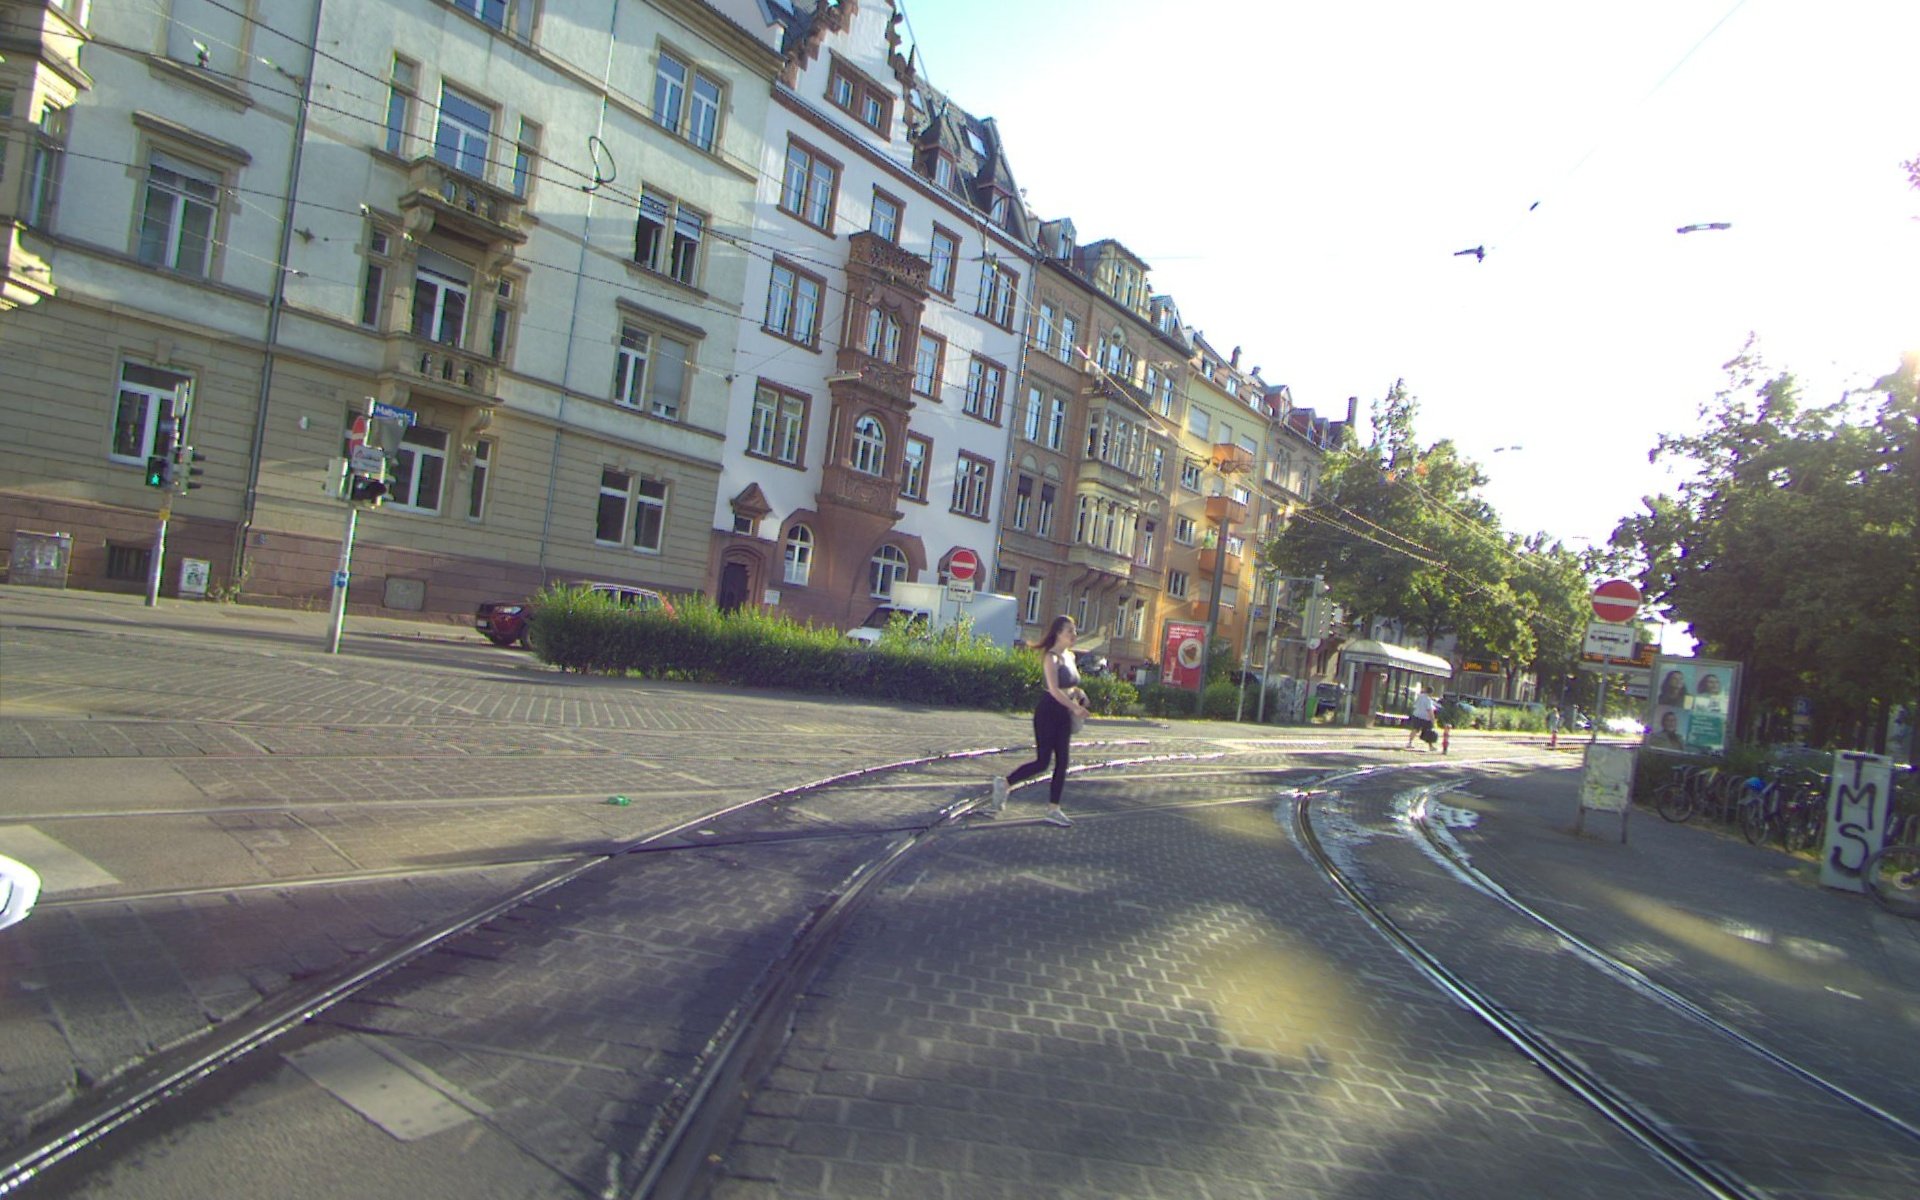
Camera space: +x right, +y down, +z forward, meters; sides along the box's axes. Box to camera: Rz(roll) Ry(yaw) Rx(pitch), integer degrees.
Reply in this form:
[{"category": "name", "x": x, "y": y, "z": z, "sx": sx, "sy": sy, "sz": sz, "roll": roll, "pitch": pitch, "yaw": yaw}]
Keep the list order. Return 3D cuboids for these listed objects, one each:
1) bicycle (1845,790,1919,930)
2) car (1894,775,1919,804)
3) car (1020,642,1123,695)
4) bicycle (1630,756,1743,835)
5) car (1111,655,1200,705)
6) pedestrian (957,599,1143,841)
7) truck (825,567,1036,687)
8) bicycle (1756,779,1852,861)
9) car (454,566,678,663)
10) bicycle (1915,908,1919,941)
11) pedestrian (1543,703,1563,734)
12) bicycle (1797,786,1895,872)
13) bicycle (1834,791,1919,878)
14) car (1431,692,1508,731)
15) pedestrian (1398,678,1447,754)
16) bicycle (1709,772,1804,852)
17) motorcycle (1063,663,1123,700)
[{"category": "bicycle", "x": 10.424, "y": 2.814, "z": 10.217, "sx": 1.937, "sy": 1.278, "sz": 0.754, "roll": 10, "pitch": 1, "yaw": 37}, {"category": "car", "x": 57.476, "y": 11.434, "z": 60.484, "sx": 1.674, "sy": 1.531, "sz": 3.567, "roll": 8, "pitch": -2, "yaw": 41}, {"category": "car", "x": 4.536, "y": 2.764, "z": 40.436, "sx": 1.918, "sy": 1.650, "sz": 4.256, "roll": 5, "pitch": -3, "yaw": 41}, {"category": "bicycle", "x": 12.665, "y": 3.411, "z": 17.536, "sx": 1.773, "sy": 1.120, "sz": 0.499, "roll": 8, "pitch": -1, "yaw": -15}, {"category": "car", "x": 8.838, "y": 3.615, "z": 45.229, "sx": 1.918, "sy": 1.791, "sz": 4.256, "roll": 5, "pitch": -3, "yaw": 41}, {"category": "pedestrian", "x": 0.797, "y": 1.002, "z": 8.736, "sx": 1.065, "sy": 1.828, "sz": 1.025, "roll": 8, "pitch": 0, "yaw": 30}, {"category": "truck", "x": -0.719, "y": 1.050, "z": 33.547, "sx": 2.295, "sy": 3.115, "sz": 8.064, "roll": 5, "pitch": -3, "yaw": 36}, {"category": "bicycle", "x": 12.969, "y": 3.388, "z": 15.442, "sx": 1.782, "sy": 1.120, "sz": 0.496, "roll": 9, "pitch": -1, "yaw": -31}, {"category": "car", "x": -8.901, "y": 0.384, "z": 23.014, "sx": 1.918, "sy": 1.650, "sz": 4.256, "roll": 5, "pitch": -4, "yaw": 41}, {"category": "bicycle", "x": 9.688, "y": 2.648, "z": 8.629, "sx": 1.937, "sy": 1.278, "sz": 0.754, "roll": 10, "pitch": 1, "yaw": 37}, {"category": "pedestrian", "x": 36.901, "y": 7.370, "z": 62.614, "sx": 0.673, "sy": 1.852, "sz": 0.603, "roll": 10, "pitch": 2, "yaw": 44}, {"category": "bicycle", "x": 13.236, "y": 3.428, "z": 15.020, "sx": 1.782, "sy": 1.120, "sz": 0.496, "roll": 9, "pitch": -1, "yaw": -31}, {"category": "bicycle", "x": 13.459, "y": 3.422, "z": 14.647, "sx": 1.782, "sy": 1.120, "sz": 0.496, "roll": 9, "pitch": -1, "yaw": -31}, {"category": "car", "x": 33.243, "y": 7.283, "z": 65.763, "sx": 1.917, "sy": 1.947, "sz": 4.258, "roll": 8, "pitch": -2, "yaw": -19}, {"category": "pedestrian", "x": 13.389, "y": 3.348, "z": 29.123, "sx": 0.852, "sy": 2.039, "sz": 0.603, "roll": 10, "pitch": 2, "yaw": 44}, {"category": "bicycle", "x": 12.717, "y": 3.384, "z": 16.040, "sx": 1.782, "sy": 1.120, "sz": 0.496, "roll": 9, "pitch": -1, "yaw": -31}, {"category": "motorcycle", "x": 4.092, "y": 2.518, "z": 31.111, "sx": 1.730, "sy": 1.031, "sz": 0.606, "roll": 0, "pitch": -5, "yaw": 37}]
